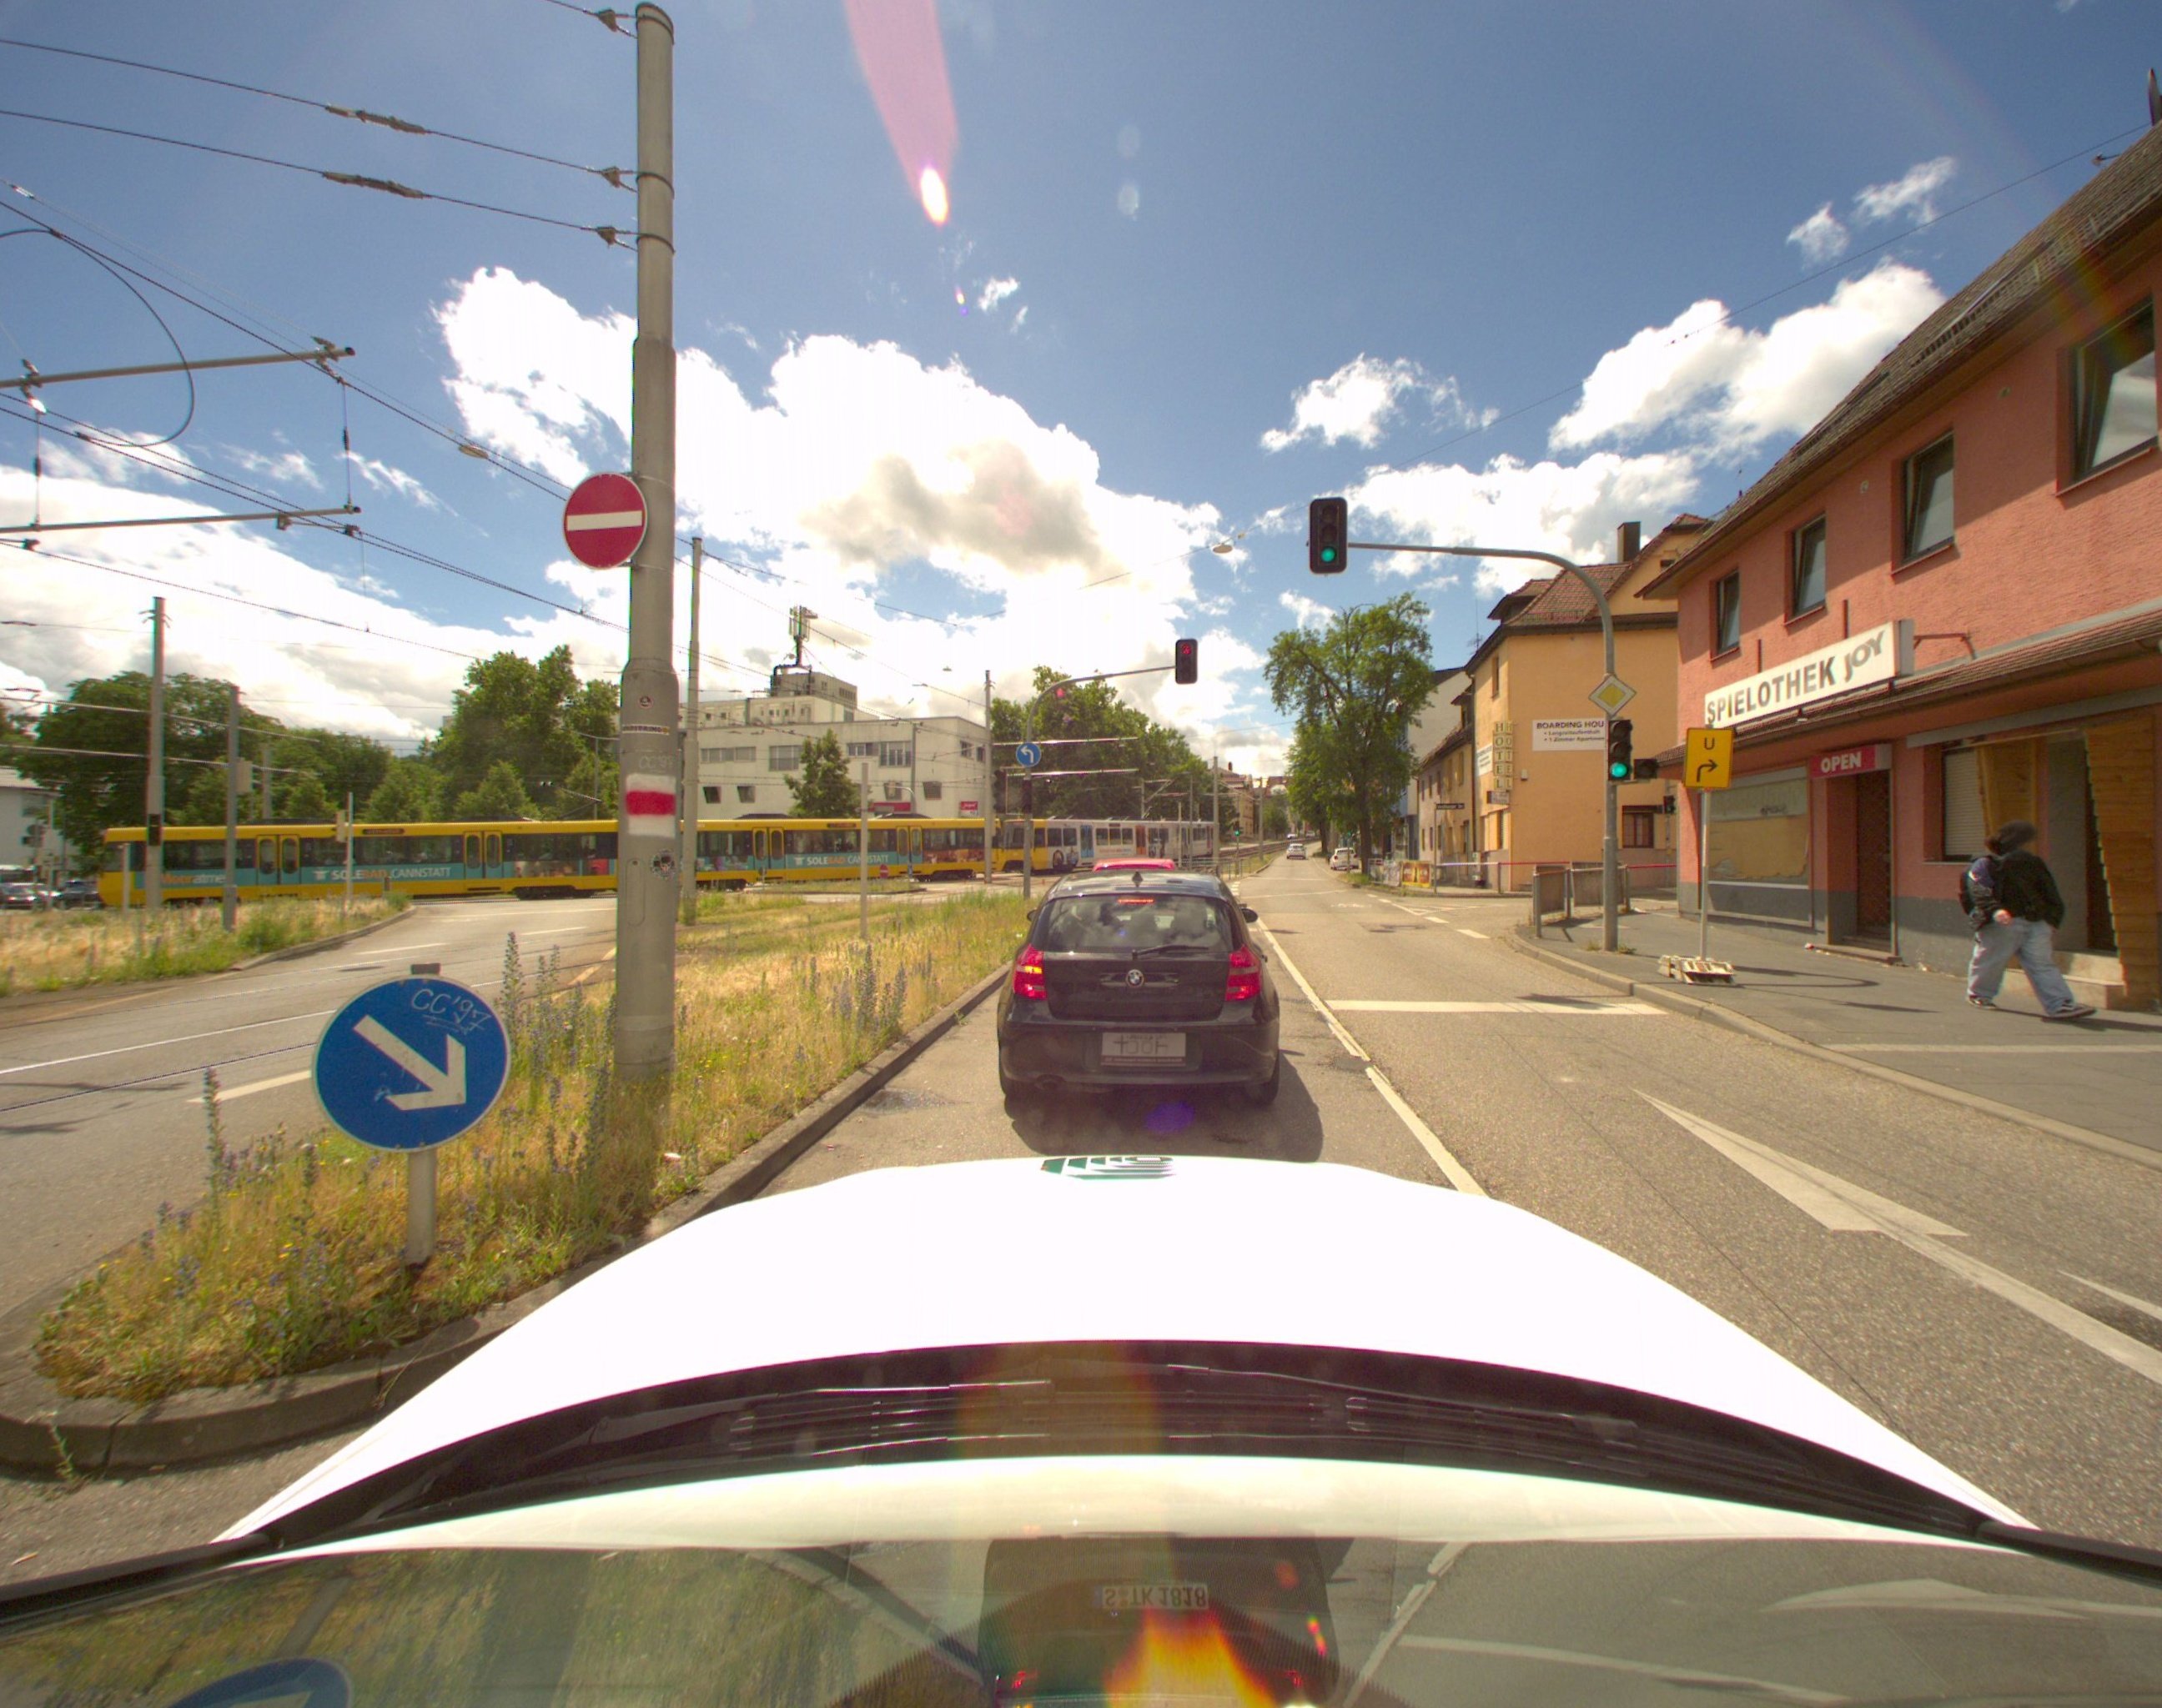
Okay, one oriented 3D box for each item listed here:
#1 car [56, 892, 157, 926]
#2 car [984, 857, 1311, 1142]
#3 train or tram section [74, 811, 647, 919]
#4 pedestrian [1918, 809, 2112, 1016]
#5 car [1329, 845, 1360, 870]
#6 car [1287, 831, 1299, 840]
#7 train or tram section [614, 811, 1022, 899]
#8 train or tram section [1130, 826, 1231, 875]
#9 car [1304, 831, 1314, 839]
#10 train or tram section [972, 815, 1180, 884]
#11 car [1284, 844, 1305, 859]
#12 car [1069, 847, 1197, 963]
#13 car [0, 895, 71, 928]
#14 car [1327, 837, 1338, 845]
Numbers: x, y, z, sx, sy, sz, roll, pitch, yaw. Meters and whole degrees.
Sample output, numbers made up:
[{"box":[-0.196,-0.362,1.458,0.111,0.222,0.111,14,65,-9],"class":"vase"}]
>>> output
[{"box":[-56.518,3.161,47.270,4.196,1.791,2.030,-2,-1,12],"class":"car"},{"box":[0.345,0.796,6.322,1.696,1.452,3.999,-2,-1,0],"class":"car"},{"box":[-29.777,0.322,35.292,18.861,3.919,3.743,-1,-1,-14],"class":"train or tram section"},{"box":[7.860,0.465,6.901,0.759,1.642,0.781,-2,1,13],"class":"pedestrian"},{"box":[17.969,0.223,55.589,1.774,1.596,4.016,-2,-1,15],"class":"car"},{"box":[48.632,-4.237,186.927,1.976,2.014,4.022,-2,-1,23],"class":"car"},{"box":[-12.820,-0.047,42.934,20.231,3.829,3.721,-1,-1,-35],"class":"train or tram section"},{"box":[9.562,-0.236,73.973,3.716,3.814,20.159,-2,-1,22],"class":"train or tram section"},{"box":[57.666,-4.775,206.032,1.976,2.014,4.022,-2,-1,23],"class":"car"},{"box":[0.634,-0.256,56.576,3.713,3.879,20.766,-2,-1,32],"class":"train or tram section"},{"box":[21.017,-0.258,80.125,1.803,1.468,4.013,-1,0,12],"class":"car"},{"box":[0.954,0.690,12.598,1.616,1.473,4.009,-2,-1,8],"class":"car"},{"box":[-58.167,3.168,44.569,4.212,1.651,1.925,-2,-1,12],"class":"car"},{"box":[46.598,-2.461,151.132,1.801,1.468,4.017,1,1,16],"class":"car"}]
